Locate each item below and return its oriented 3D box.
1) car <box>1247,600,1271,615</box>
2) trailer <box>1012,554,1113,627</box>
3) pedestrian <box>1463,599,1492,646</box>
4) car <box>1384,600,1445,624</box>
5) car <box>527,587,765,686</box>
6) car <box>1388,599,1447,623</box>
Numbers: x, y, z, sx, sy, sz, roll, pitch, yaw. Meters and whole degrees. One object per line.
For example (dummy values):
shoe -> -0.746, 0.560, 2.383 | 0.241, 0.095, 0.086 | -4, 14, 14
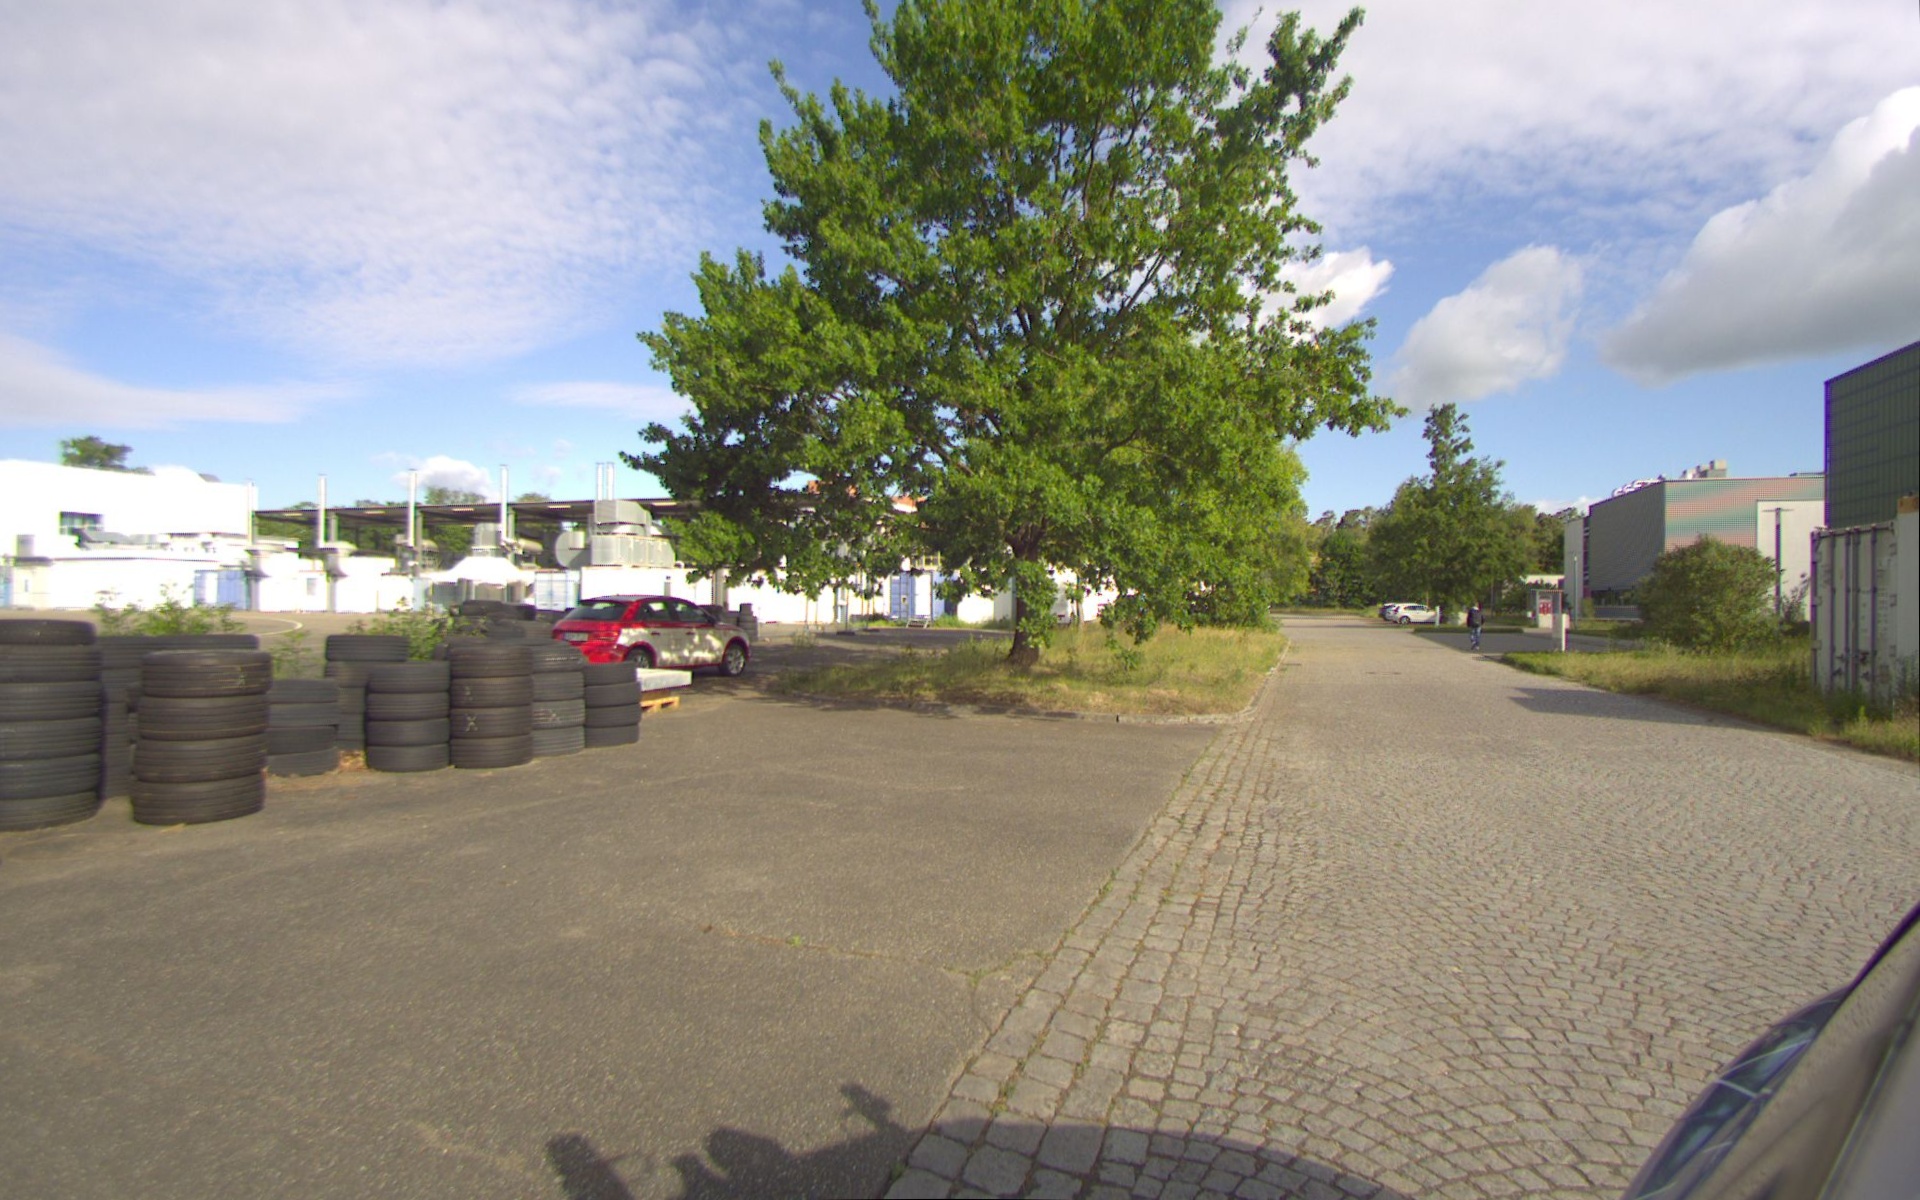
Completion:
car -> 29.477, 0.702, 99.835 | 1.970, 1.388, 3.984 | 0, 0, 13
trailer -> 5.677, -0.443, 53.798 | 2.891, 3.515, 9.831 | 0, 0, 21
pedestrian -> 17.862, 0.763, 34.921 | 0.860, 1.578, 1.017 | 0, -1, 30
car -> 32.786, 0.820, 73.017 | 3.958, 1.663, 1.983 | 1, 0, 25
car -> -5.269, 0.556, 17.503 | 1.710, 1.482, 3.964 | 1, 0, 26
car -> 34.054, 0.805, 75.431 | 3.958, 1.663, 1.983 | 1, 0, 25
